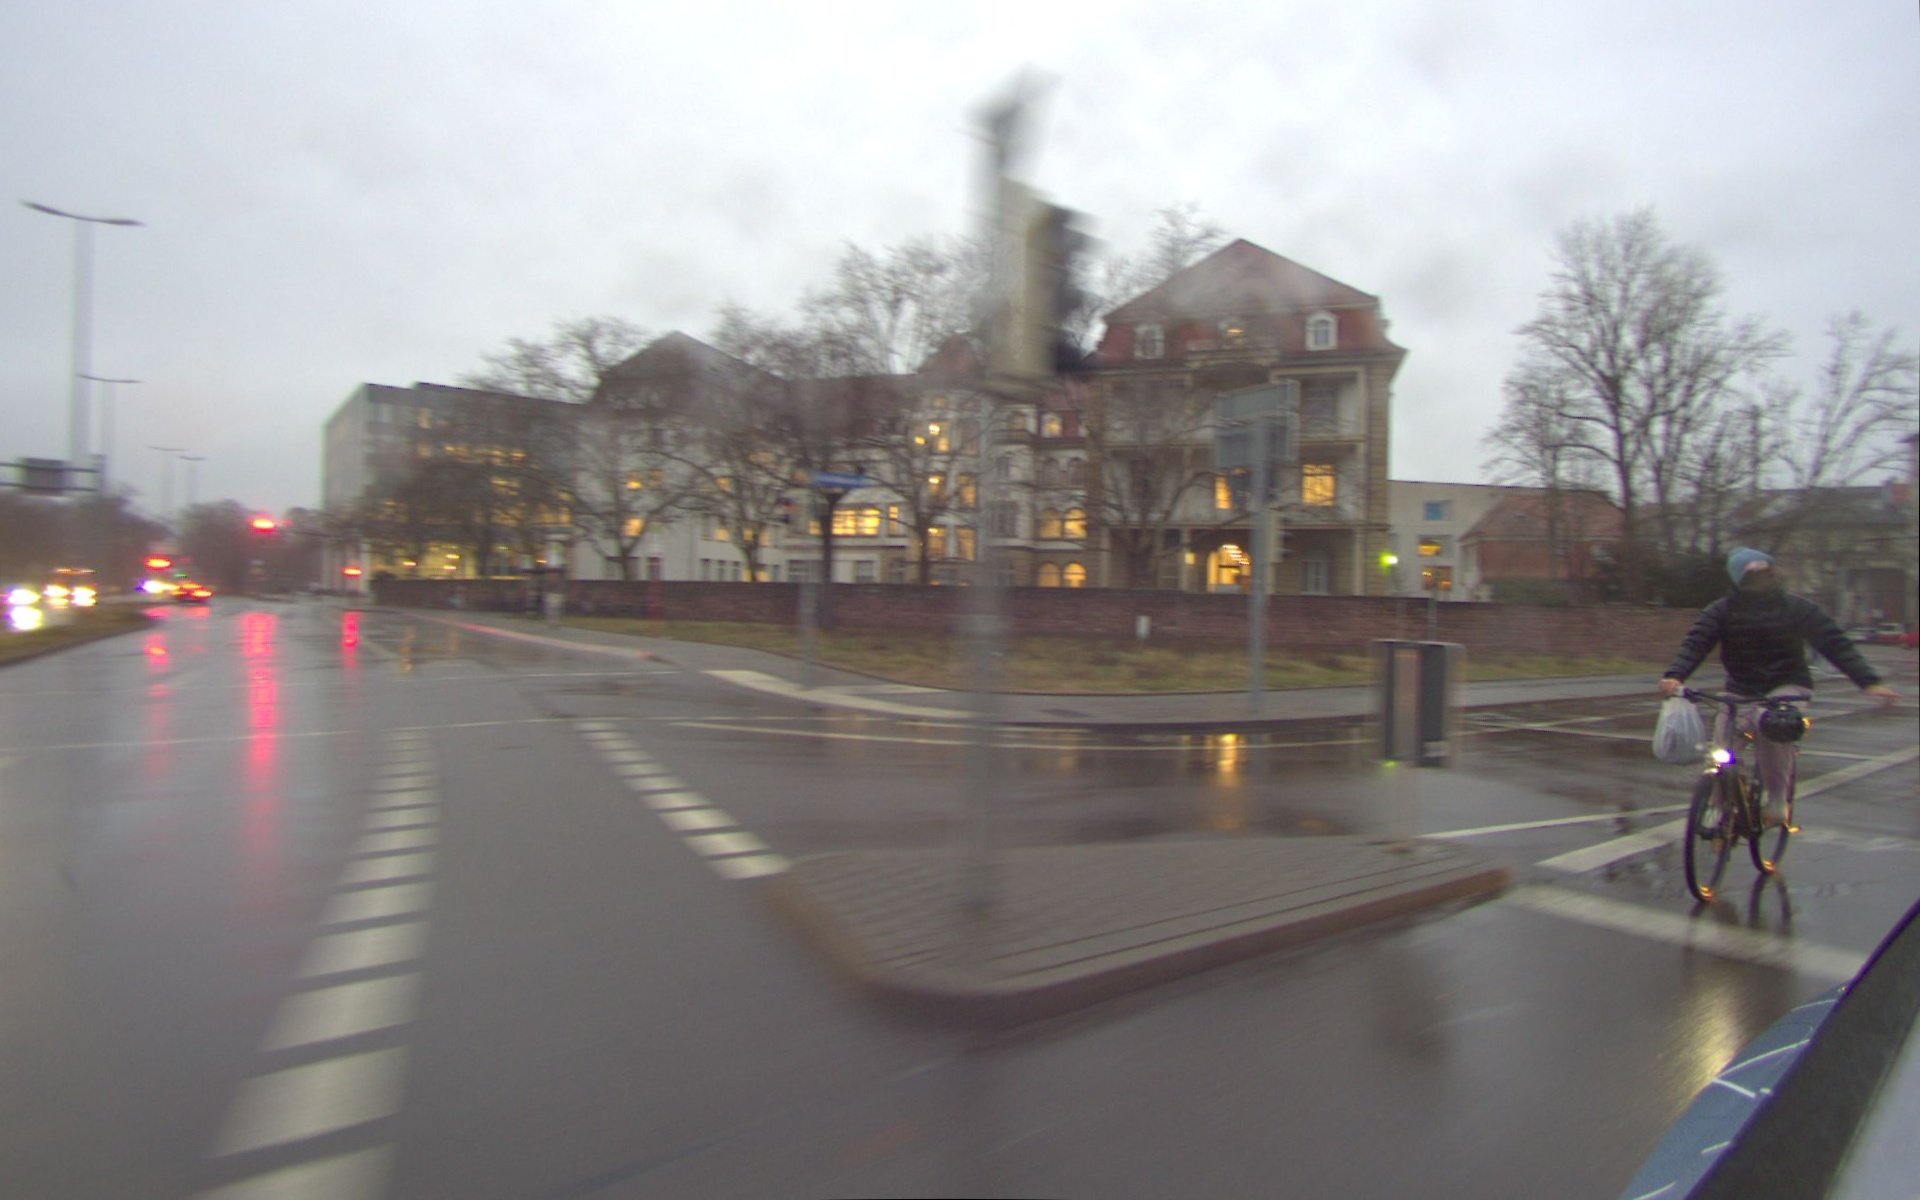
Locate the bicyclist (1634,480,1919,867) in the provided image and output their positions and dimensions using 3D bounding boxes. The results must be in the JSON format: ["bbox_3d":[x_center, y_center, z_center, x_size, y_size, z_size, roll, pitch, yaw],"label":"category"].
[{"bbox_3d":[4.689,0.352,5.746,1.211,1.907,1.028,0,0,-31],"label":"bicyclist"}]

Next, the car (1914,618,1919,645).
[{"bbox_3d":[72.322,2.368,73.699,2.110,2.036,4.552,2,0,13],"label":"car"}]

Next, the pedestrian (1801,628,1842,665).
[{"bbox_3d":[33.515,1.797,39.402,0.971,1.333,0.808,2,0,23],"label":"pedestrian"}]

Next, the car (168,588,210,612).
[{"bbox_3d":[-55.853,-0.005,73.340,1.961,1.588,4.473,4,-2,-33],"label":"car"}]

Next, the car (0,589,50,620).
[{"bbox_3d":[-53.705,0.221,57.769,1.961,1.587,4.472,3,0,-34],"label":"car"}]

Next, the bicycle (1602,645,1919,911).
[{"bbox_3d":[4.681,0.930,5.887,1.865,1.238,0.796,-1,0,-29],"label":"bicycle"}]

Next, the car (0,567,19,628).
[{"bbox_3d":[-28.725,-0.099,28.915,1.961,1.772,4.472,2,0,-34],"label":"car"}]

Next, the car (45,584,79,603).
[{"bbox_3d":[-93.088,-0.701,104.987,2.102,1.838,4.001,2,0,-34],"label":"car"}]

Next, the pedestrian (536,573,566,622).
[{"bbox_3d":[-15.713,-0.094,38.854,0.794,1.853,0.947,2,0,-38],"label":"pedestrian"}]

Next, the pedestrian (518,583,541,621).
[{"bbox_3d":[-21.782,0.091,51.214,0.794,1.853,0.947,2,0,-38],"label":"pedestrian"}]

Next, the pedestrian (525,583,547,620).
[{"bbox_3d":[-22.052,0.076,52.659,0.794,1.853,0.947,2,0,-38],"label":"pedestrian"}]

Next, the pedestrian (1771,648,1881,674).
[{"bbox_3d":[33.598,2.365,39.319,3.064,0.942,0.941,-1,-2,23],"label":"pedestrian"}]
